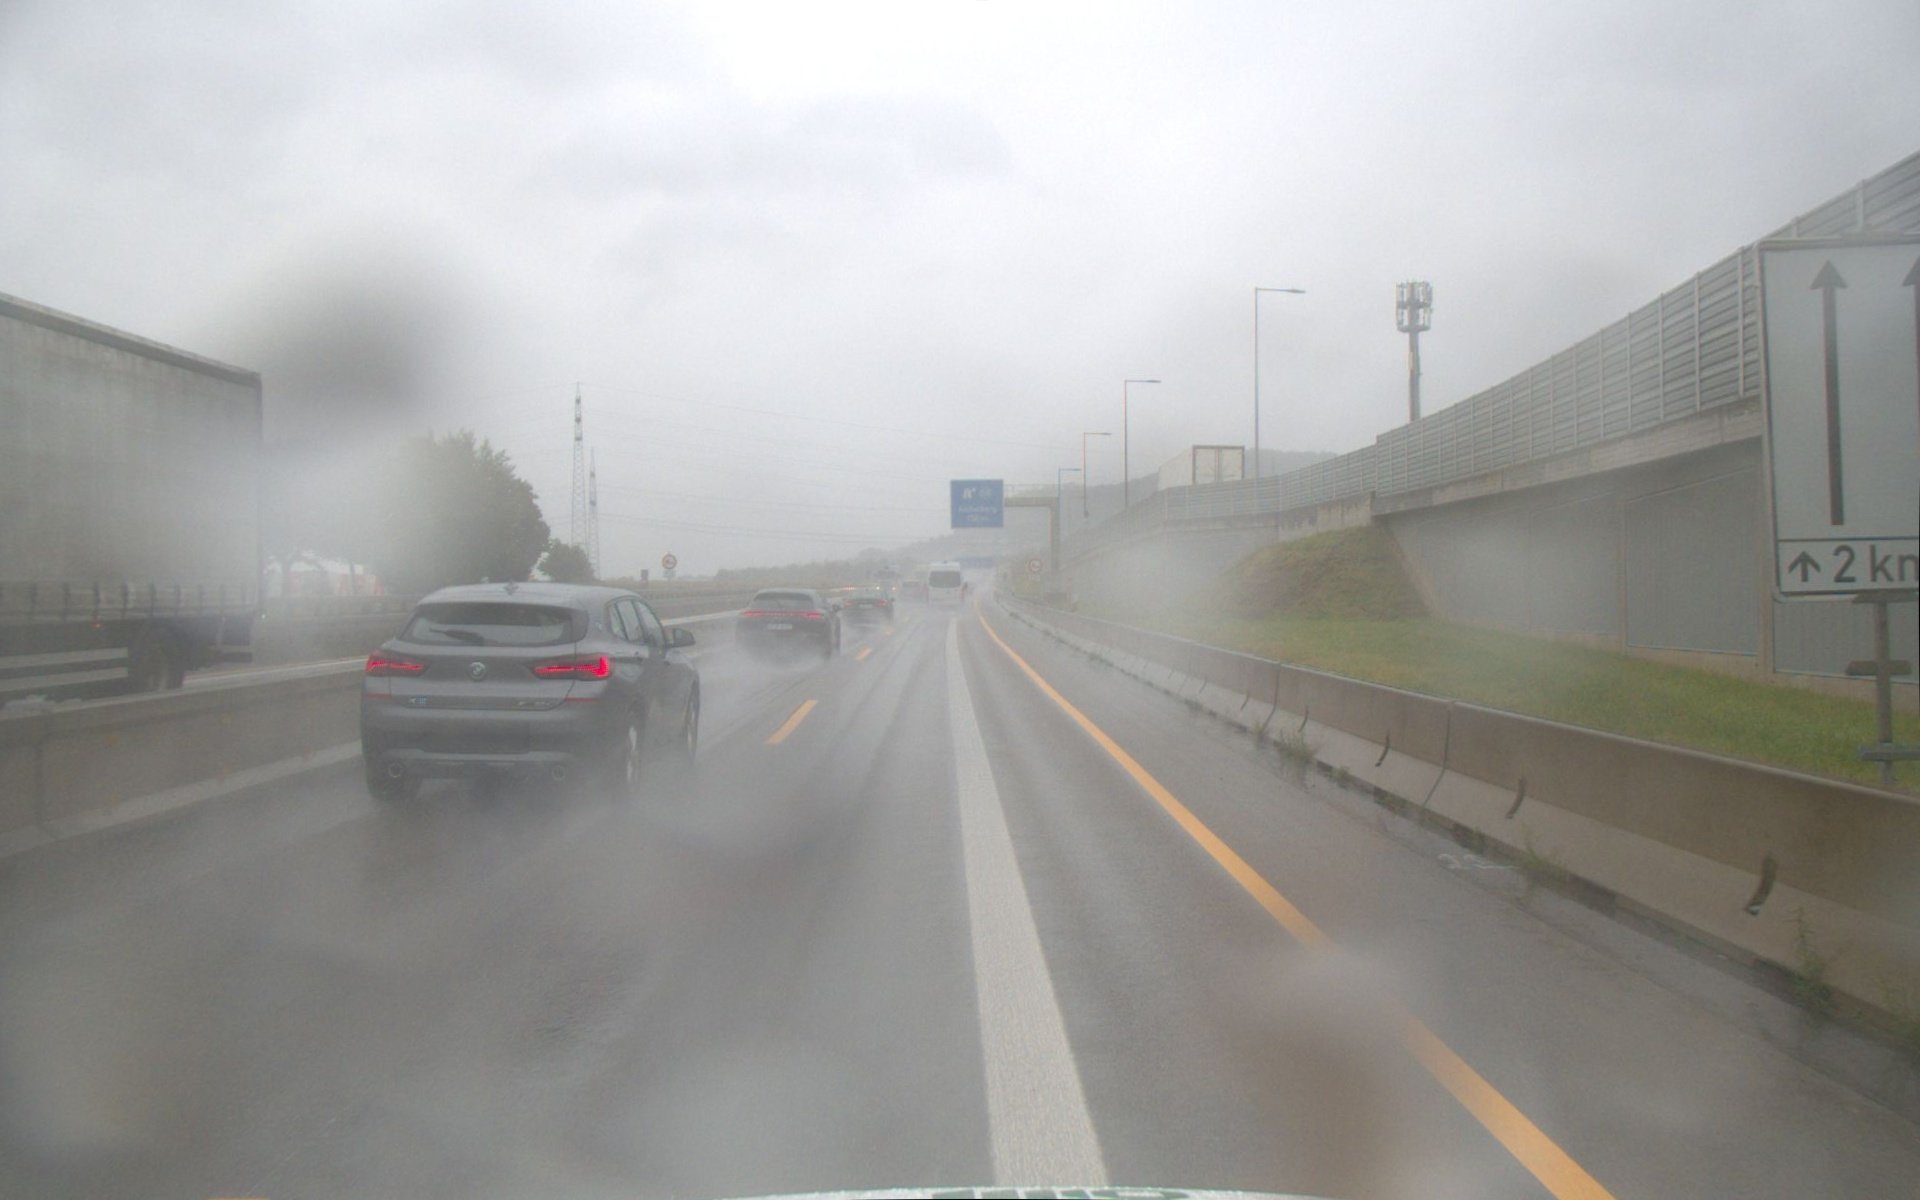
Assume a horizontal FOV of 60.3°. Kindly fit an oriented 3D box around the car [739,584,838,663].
[{"bbox_3d":[-3.511,0.486,34.525,1.807,1.517,4.259,1,-1,-3],"label":"car"}]

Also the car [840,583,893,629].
[{"bbox_3d":[-3.362,0.175,59.794,1.807,1.517,4.259,-2,1,-3],"label":"car"}]

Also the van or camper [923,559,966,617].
[{"bbox_3d":[-0.809,-0.561,83.791,1.956,2.826,4.047,1,-1,-3],"label":"van or camper"}]

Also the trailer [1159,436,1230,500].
[{"bbox_3d":[12.273,-6.860,87.523,1.952,2.143,13.768,1,-1,1],"label":"trailer"}]

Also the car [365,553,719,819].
[{"bbox_3d":[-2.921,0.556,12.617,1.667,1.626,4.842,1,-1,-3],"label":"car"}]

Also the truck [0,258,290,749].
[{"bbox_3d":[-9.761,-0.802,15.657,2.944,4.239,9.828,-1,-1,-1],"label":"truck"}]

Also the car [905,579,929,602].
[{"bbox_3d":[-3.044,-0.659,116.173,1.535,1.506,2.819,-2,-1,-3],"label":"car"}]
